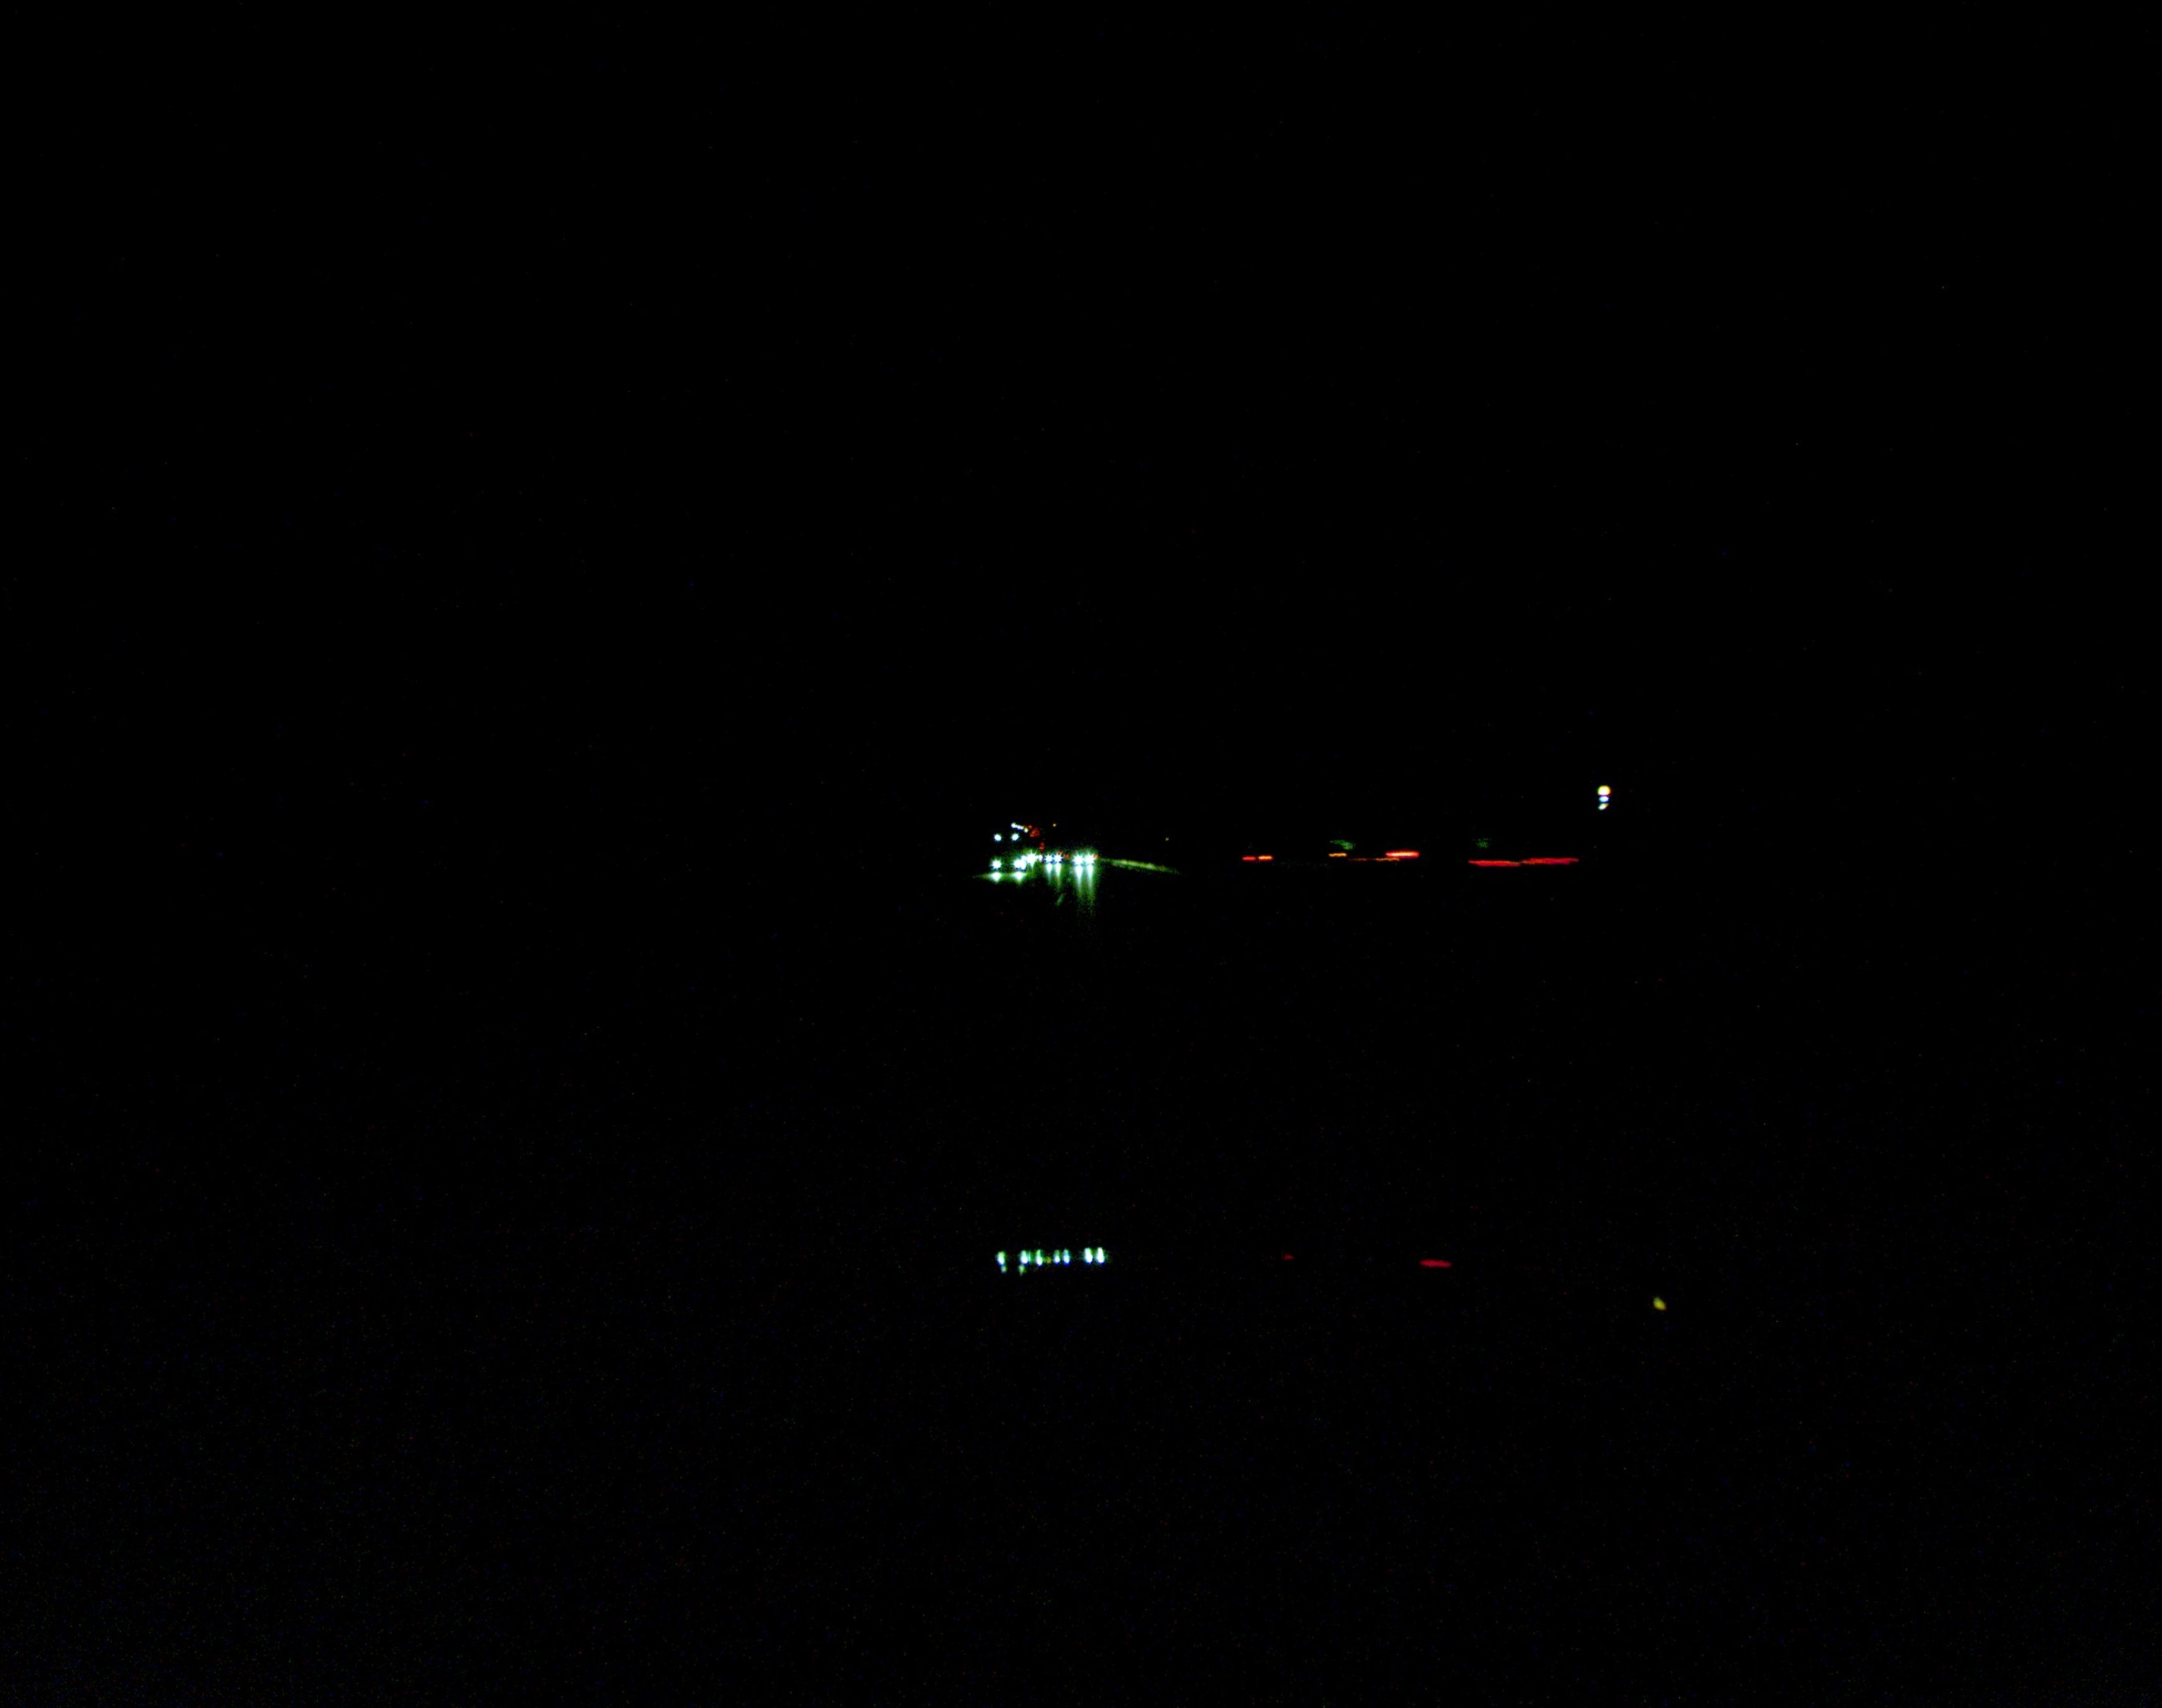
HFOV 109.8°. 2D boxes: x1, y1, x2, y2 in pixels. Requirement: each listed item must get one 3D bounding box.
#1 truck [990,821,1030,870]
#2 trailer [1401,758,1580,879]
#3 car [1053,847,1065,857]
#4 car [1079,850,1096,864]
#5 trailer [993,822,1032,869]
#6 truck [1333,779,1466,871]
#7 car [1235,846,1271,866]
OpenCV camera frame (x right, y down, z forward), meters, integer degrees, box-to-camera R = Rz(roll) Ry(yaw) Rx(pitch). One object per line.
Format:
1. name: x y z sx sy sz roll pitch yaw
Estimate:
1. truck: -6.818 -0.838 73.888 3.347 4.408 6.990 -3 1 -3
2. trailer: 17.130 -1.368 32.698 3.058 4.413 8.600 -2 1 1
3. car: -3.646 -0.313 126.595 1.939 1.609 3.999 -2 1 0
4. car: 0.763 0.336 92.516 2.012 1.652 3.999 -2 1 0
5. trailer: -7.153 -0.943 81.278 3.347 4.408 13.571 -3 1 -3
6. truck: 17.281 -1.465 42.248 3.058 4.413 10.422 -2 1 1
7. car: 13.101 0.106 58.105 1.773 1.377 4.390 -2 1 0
